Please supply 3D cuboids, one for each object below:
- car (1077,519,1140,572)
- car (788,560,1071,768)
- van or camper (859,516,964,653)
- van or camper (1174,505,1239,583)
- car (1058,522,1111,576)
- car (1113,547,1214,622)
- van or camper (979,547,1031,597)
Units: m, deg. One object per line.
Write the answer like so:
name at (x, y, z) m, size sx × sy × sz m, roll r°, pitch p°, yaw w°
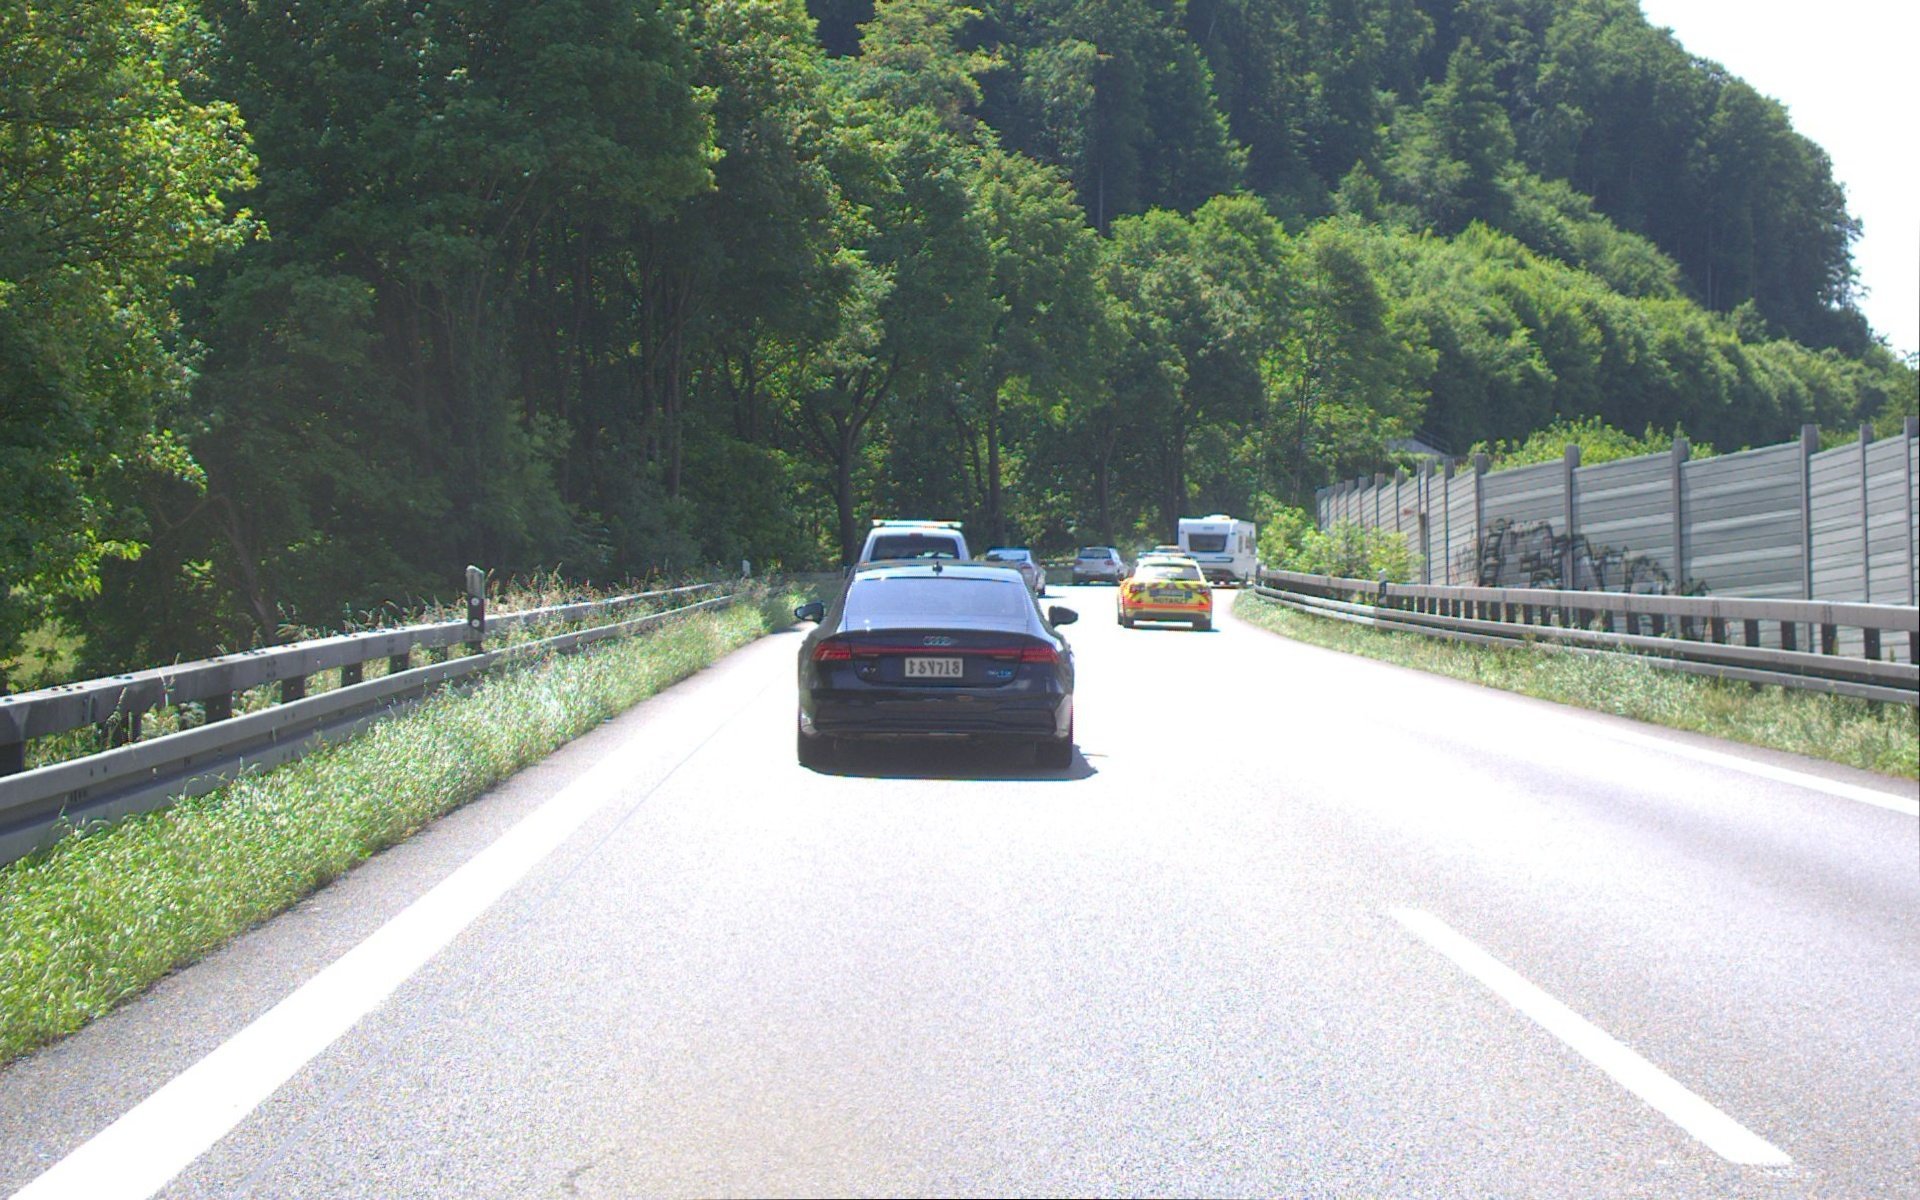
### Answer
car at (4.776, -1.746, 110.831) m, size 1.773 × 1.631 × 4.000 m, roll 1°, pitch 0°, yaw -1°
car at (-0.219, 0.398, 24.404) m, size 1.837 × 1.345 × 4.000 m, roll 0°, pitch 1°, yaw -1°
van or camper at (-0.667, -0.228, 47.651) m, size 1.391 × 1.809 × 4.000 m, roll 0°, pitch 1°, yaw -1°
van or camper at (9.493, -2.147, 132.839) m, size 2.456 × 2.908 × 6.125 m, roll 0°, pitch 1°, yaw 3°
car at (4.773, -1.932, 131.315) m, size 1.994 × 2.007 × 4.000 m, roll 0°, pitch 1°, yaw 3°
car at (4.160, -0.327, 70.665) m, size 1.863 × 1.483 × 4.000 m, roll 0°, pitch 1°, yaw 0°
van or camper at (1.387, -0.877, 106.813) m, size 1.557 × 1.528 × 3.505 m, roll 0°, pitch 1°, yaw 0°
